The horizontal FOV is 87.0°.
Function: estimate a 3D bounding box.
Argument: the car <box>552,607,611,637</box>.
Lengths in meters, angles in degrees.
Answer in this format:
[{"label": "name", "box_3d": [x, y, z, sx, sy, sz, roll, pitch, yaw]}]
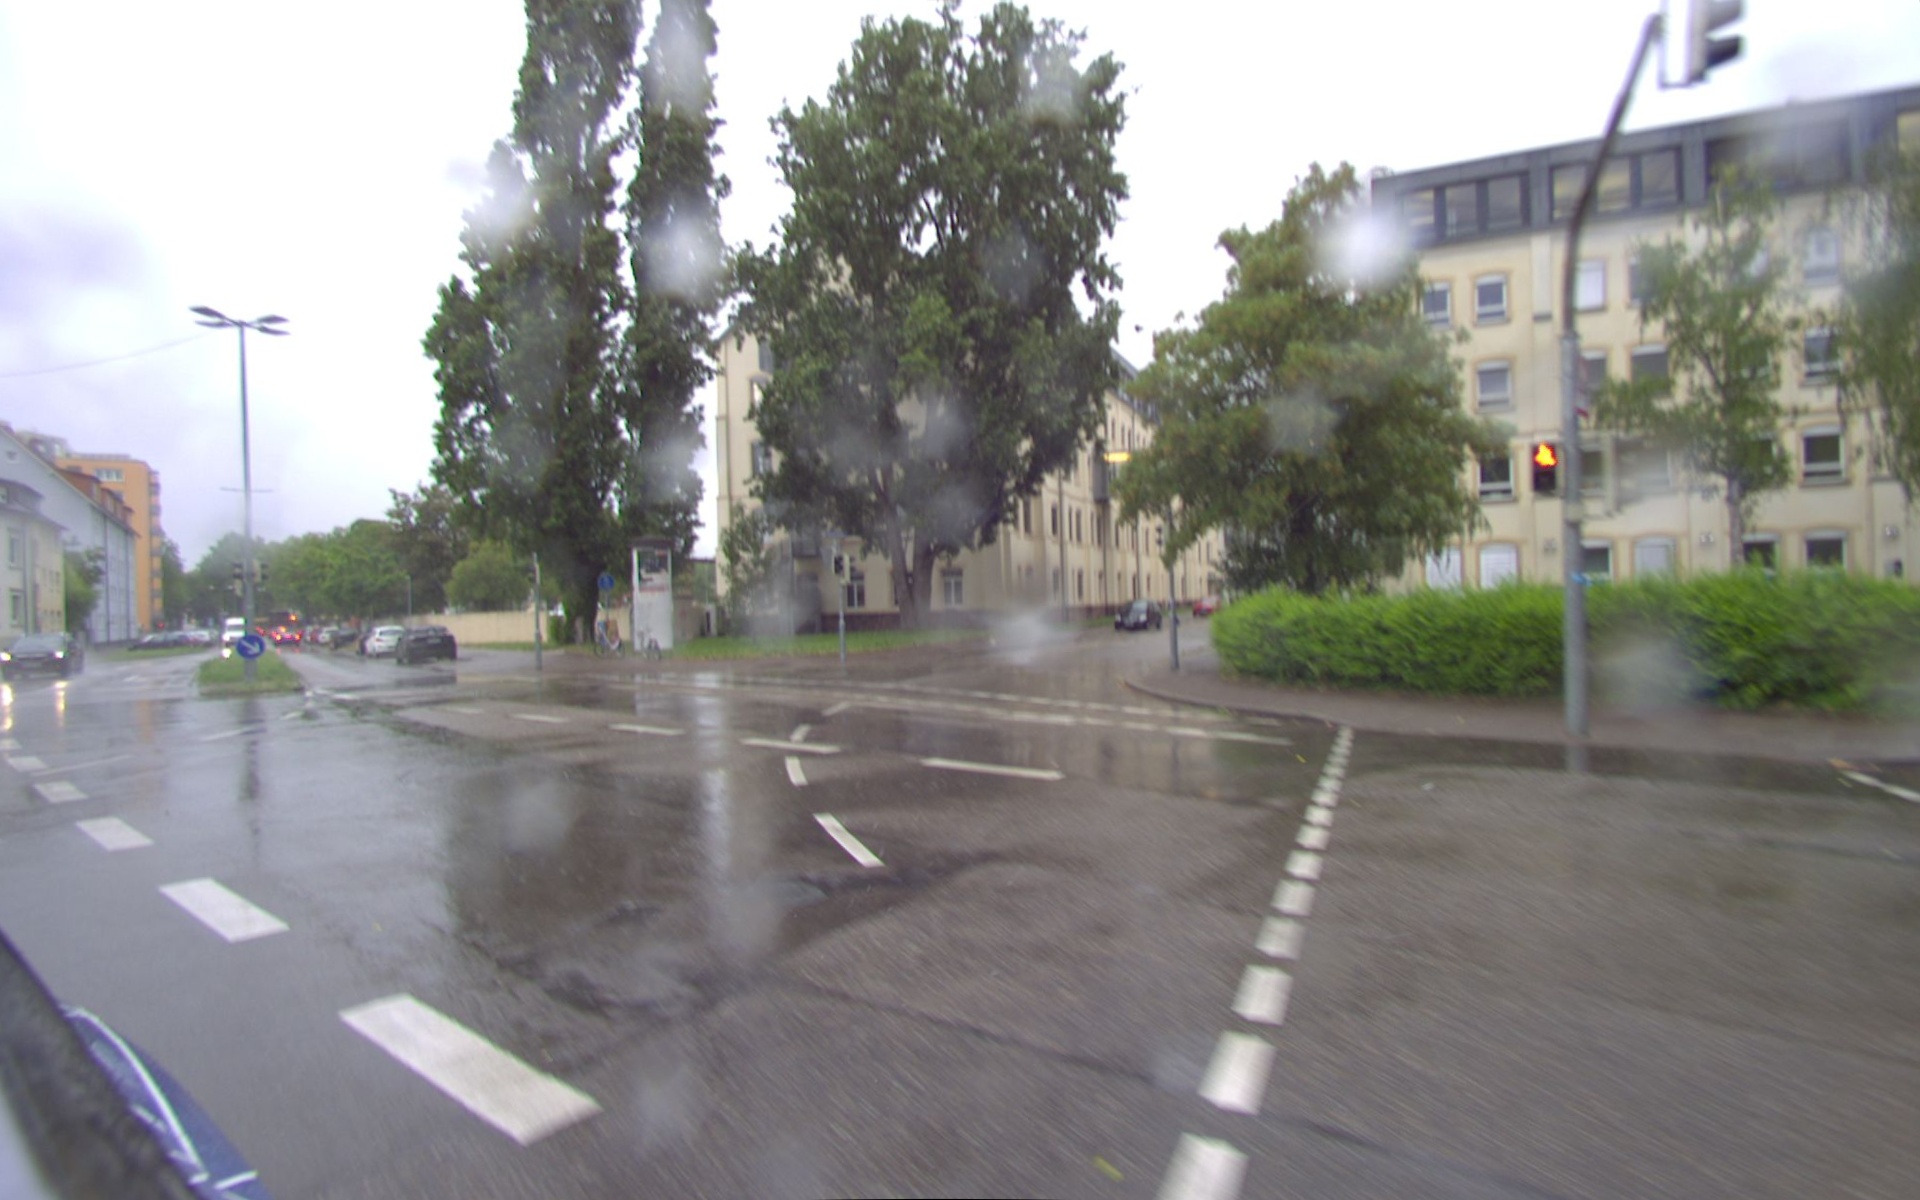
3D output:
[{"label": "car", "box_3d": [-33.295, 1.951, 88.982, 4.694, 2.414, 2.131, -2, 0, 26]}]

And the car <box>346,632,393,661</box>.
[{"label": "car", "box_3d": [-32.153, 2.489, 55.044, 1.704, 1.393, 4.189, -4, 1, -36]}]

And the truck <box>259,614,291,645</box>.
[{"label": "truck", "box_3d": [-105.974, 4.581, 156.620, 3.772, 4.418, 10.813, -2, 0, -34]}]

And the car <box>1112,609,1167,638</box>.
[{"label": "car", "box_3d": [9.407, 1.200, 52.838, 1.895, 1.279, 4.064, -2, 0, 24]}]

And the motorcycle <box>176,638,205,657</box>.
[{"label": "motorcycle", "box_3d": [-61.106, 3.798, 80.396, 1.739, 1.383, 0.736, -2, 0, -34]}]

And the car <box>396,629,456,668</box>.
[{"label": "car", "box_3d": [-22.079, 1.968, 41.773, 1.524, 1.407, 4.203, -4, 1, -37]}]

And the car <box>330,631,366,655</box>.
[{"label": "car", "box_3d": [-40.708, 2.845, 67.257, 1.673, 1.456, 4.107, -3, 1, -36]}]

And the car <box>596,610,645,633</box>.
[{"label": "car", "box_3d": [-31.381, 1.985, 93.566, 3.977, 2.029, 1.984, -2, 0, 25]}]

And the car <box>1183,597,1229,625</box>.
[{"label": "car", "box_3d": [18.376, 0.816, 75.378, 2.322, 1.824, 5.569, -2, 0, 24]}]

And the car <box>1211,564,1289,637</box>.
[{"label": "car", "box_3d": [14.036, -0.017, 48.676, 2.820, 3.217, 6.168, -2, 0, 23]}]

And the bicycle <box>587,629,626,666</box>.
[{"label": "bicycle", "box_3d": [-12.225, 1.629, 35.022, 0.688, 1.195, 1.626, -2, 0, -41]}]

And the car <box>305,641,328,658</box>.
[{"label": "car", "box_3d": [-60.475, 4.624, 95.102, 1.667, 1.465, 3.728, -2, 0, -33]}]

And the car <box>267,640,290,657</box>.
[{"label": "car", "box_3d": [-65.095, 4.648, 96.691, 1.683, 1.512, 3.955, 1, -2, -36]}]

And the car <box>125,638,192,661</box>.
[{"label": "car", "box_3d": [-59.365, 3.678, 75.040, 3.701, 1.466, 1.805, -3, -2, -34]}]

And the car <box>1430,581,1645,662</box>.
[{"label": "car", "box_3d": [13.284, 0.514, 23.564, 3.993, 1.699, 1.771, -2, -1, 19]}]

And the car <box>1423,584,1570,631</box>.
[{"label": "car", "box_3d": [19.268, 0.263, 36.581, 4.506, 1.511, 1.983, -2, 0, 25]}]

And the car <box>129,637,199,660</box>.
[{"label": "car", "box_3d": [-60.721, 3.711, 77.292, 3.999, 1.466, 1.939, -3, -2, -34]}]

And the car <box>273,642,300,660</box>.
[{"label": "car", "box_3d": [-57.351, 4.332, 86.148, 1.704, 1.404, 3.959, 2, -2, -36]}]

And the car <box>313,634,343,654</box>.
[{"label": "car", "box_3d": [-52.468, 3.606, 84.023, 1.751, 1.471, 4.691, -2, 0, -36]}]

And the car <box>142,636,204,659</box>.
[{"label": "car", "box_3d": [-64.753, 3.888, 83.305, 3.861, 1.627, 1.696, -2, 0, -34]}]

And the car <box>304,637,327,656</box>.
[{"label": "car", "box_3d": [-64.627, 4.622, 101.463, 1.852, 1.694, 4.048, -2, 0, -34]}]

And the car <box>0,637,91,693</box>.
[{"label": "car", "box_3d": [-31.227, 2.169, 34.393, 1.802, 1.641, 4.012, -2, 0, -30]}]

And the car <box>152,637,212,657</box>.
[{"label": "car", "box_3d": [-70.343, 4.234, 91.578, 4.105, 1.487, 1.655, -3, 0, -34]}]

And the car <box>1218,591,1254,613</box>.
[{"label": "car", "box_3d": [25.318, 0.174, 92.594, 2.322, 1.824, 5.569, -2, 0, 24]}]

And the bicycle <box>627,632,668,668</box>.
[{"label": "bicycle", "box_3d": [-10.048, 1.587, 32.508, 0.548, 1.085, 1.798, -2, 0, -41]}]

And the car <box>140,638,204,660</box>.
[{"label": "car", "box_3d": [-63.267, 3.899, 81.340, 3.861, 1.491, 1.862, -3, 0, -34]}]

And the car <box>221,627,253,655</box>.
[{"label": "car", "box_3d": [-63.304, 3.569, 88.676, 2.159, 2.272, 4.897, -2, 0, -34]}]

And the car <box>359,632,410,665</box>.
[{"label": "car", "box_3d": [-28.904, 2.393, 50.752, 1.581, 1.485, 4.131, -2, 0, -38]}]

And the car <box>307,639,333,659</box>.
[{"label": "car", "box_3d": [-57.372, 4.402, 90.741, 1.603, 1.610, 3.806, -2, 0, -38]}]
